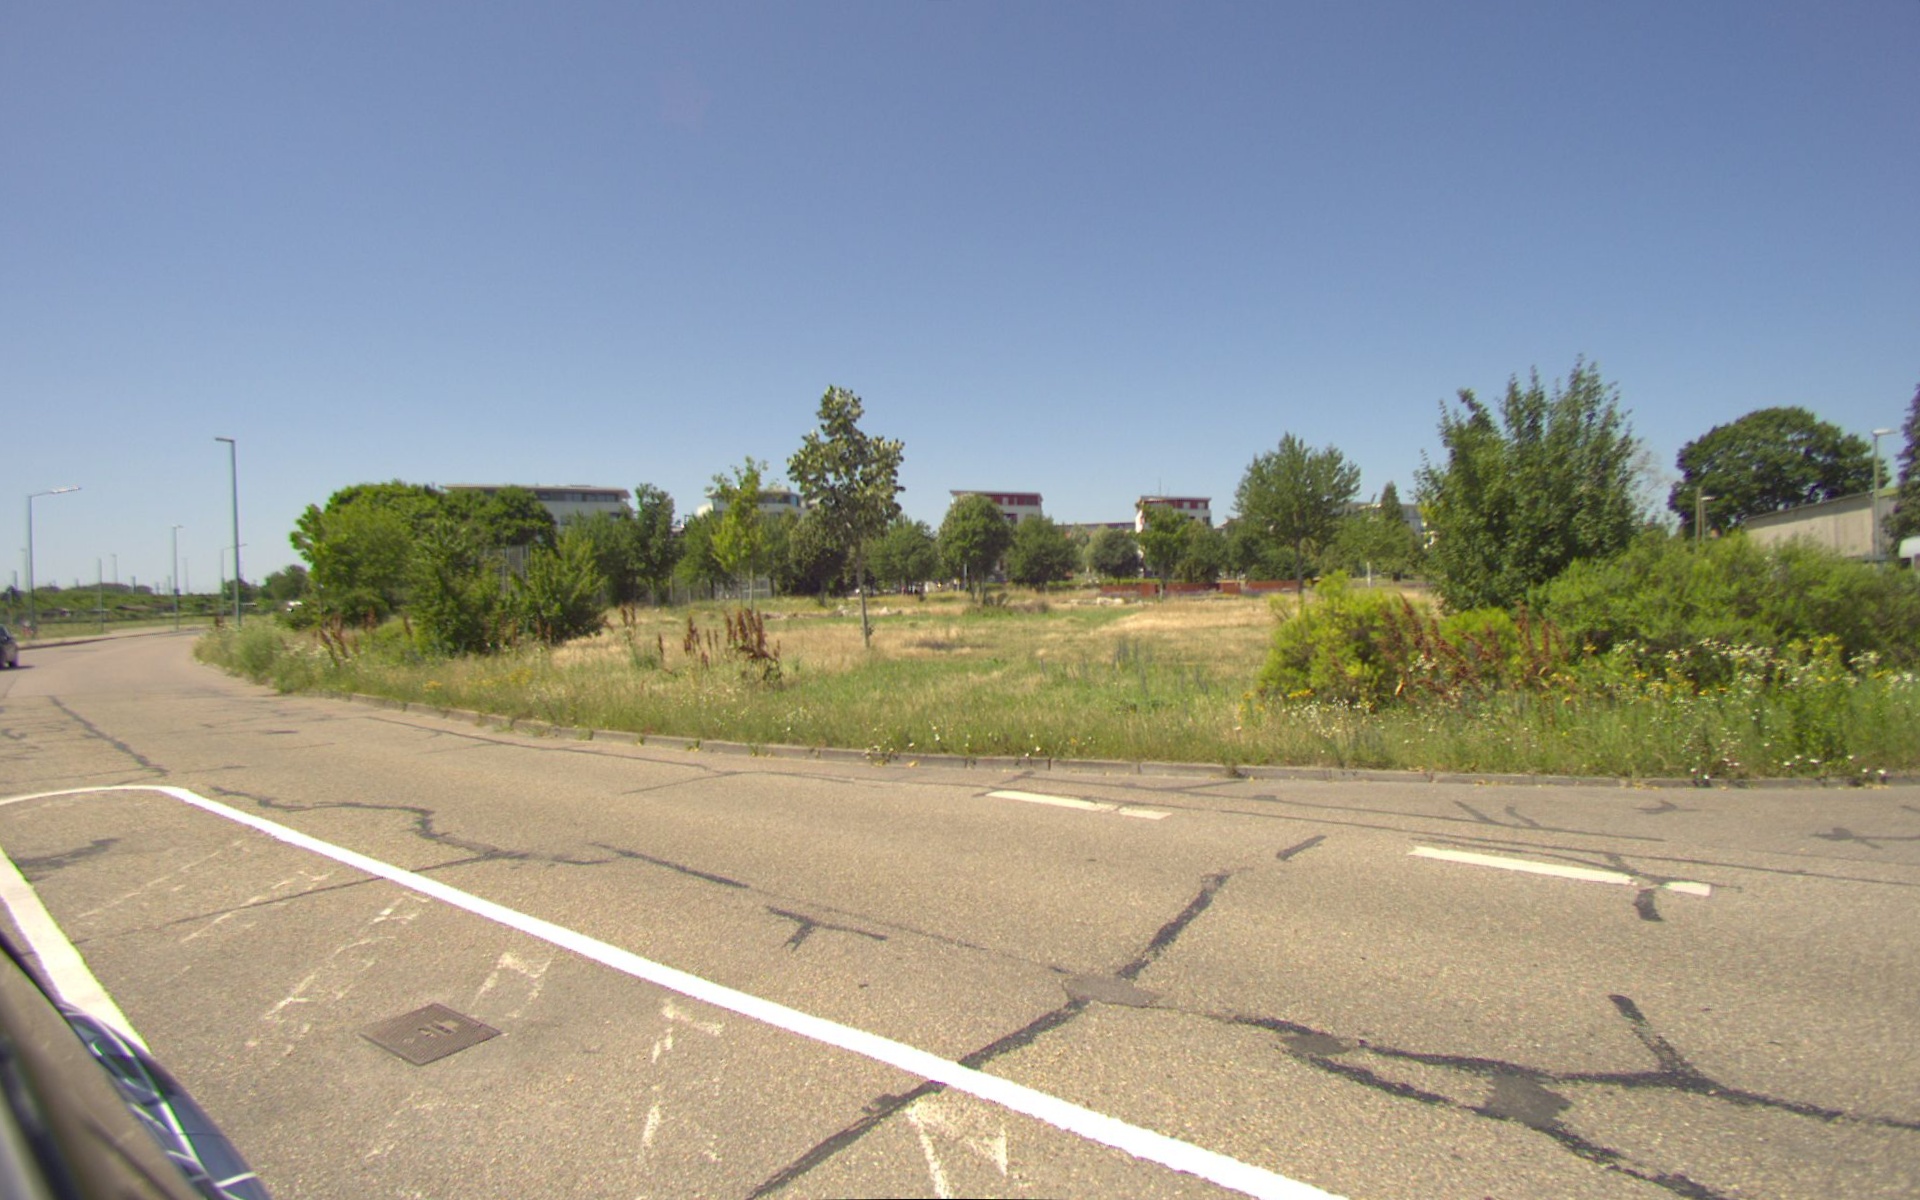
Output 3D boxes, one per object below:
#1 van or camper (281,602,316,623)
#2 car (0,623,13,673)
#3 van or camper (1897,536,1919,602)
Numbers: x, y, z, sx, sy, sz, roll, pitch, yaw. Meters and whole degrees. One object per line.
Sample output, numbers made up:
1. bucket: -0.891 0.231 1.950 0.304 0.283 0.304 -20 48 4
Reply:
1. van or camper: -85.112 1.594 130.297 2.106 2.592 5.883 -2 0 -16
2. car: -30.020 1.456 30.679 1.629 1.477 4.167 -2 0 -40
3. van or camper: 39.084 -1.258 39.288 2.461 2.613 5.913 -2 0 28
